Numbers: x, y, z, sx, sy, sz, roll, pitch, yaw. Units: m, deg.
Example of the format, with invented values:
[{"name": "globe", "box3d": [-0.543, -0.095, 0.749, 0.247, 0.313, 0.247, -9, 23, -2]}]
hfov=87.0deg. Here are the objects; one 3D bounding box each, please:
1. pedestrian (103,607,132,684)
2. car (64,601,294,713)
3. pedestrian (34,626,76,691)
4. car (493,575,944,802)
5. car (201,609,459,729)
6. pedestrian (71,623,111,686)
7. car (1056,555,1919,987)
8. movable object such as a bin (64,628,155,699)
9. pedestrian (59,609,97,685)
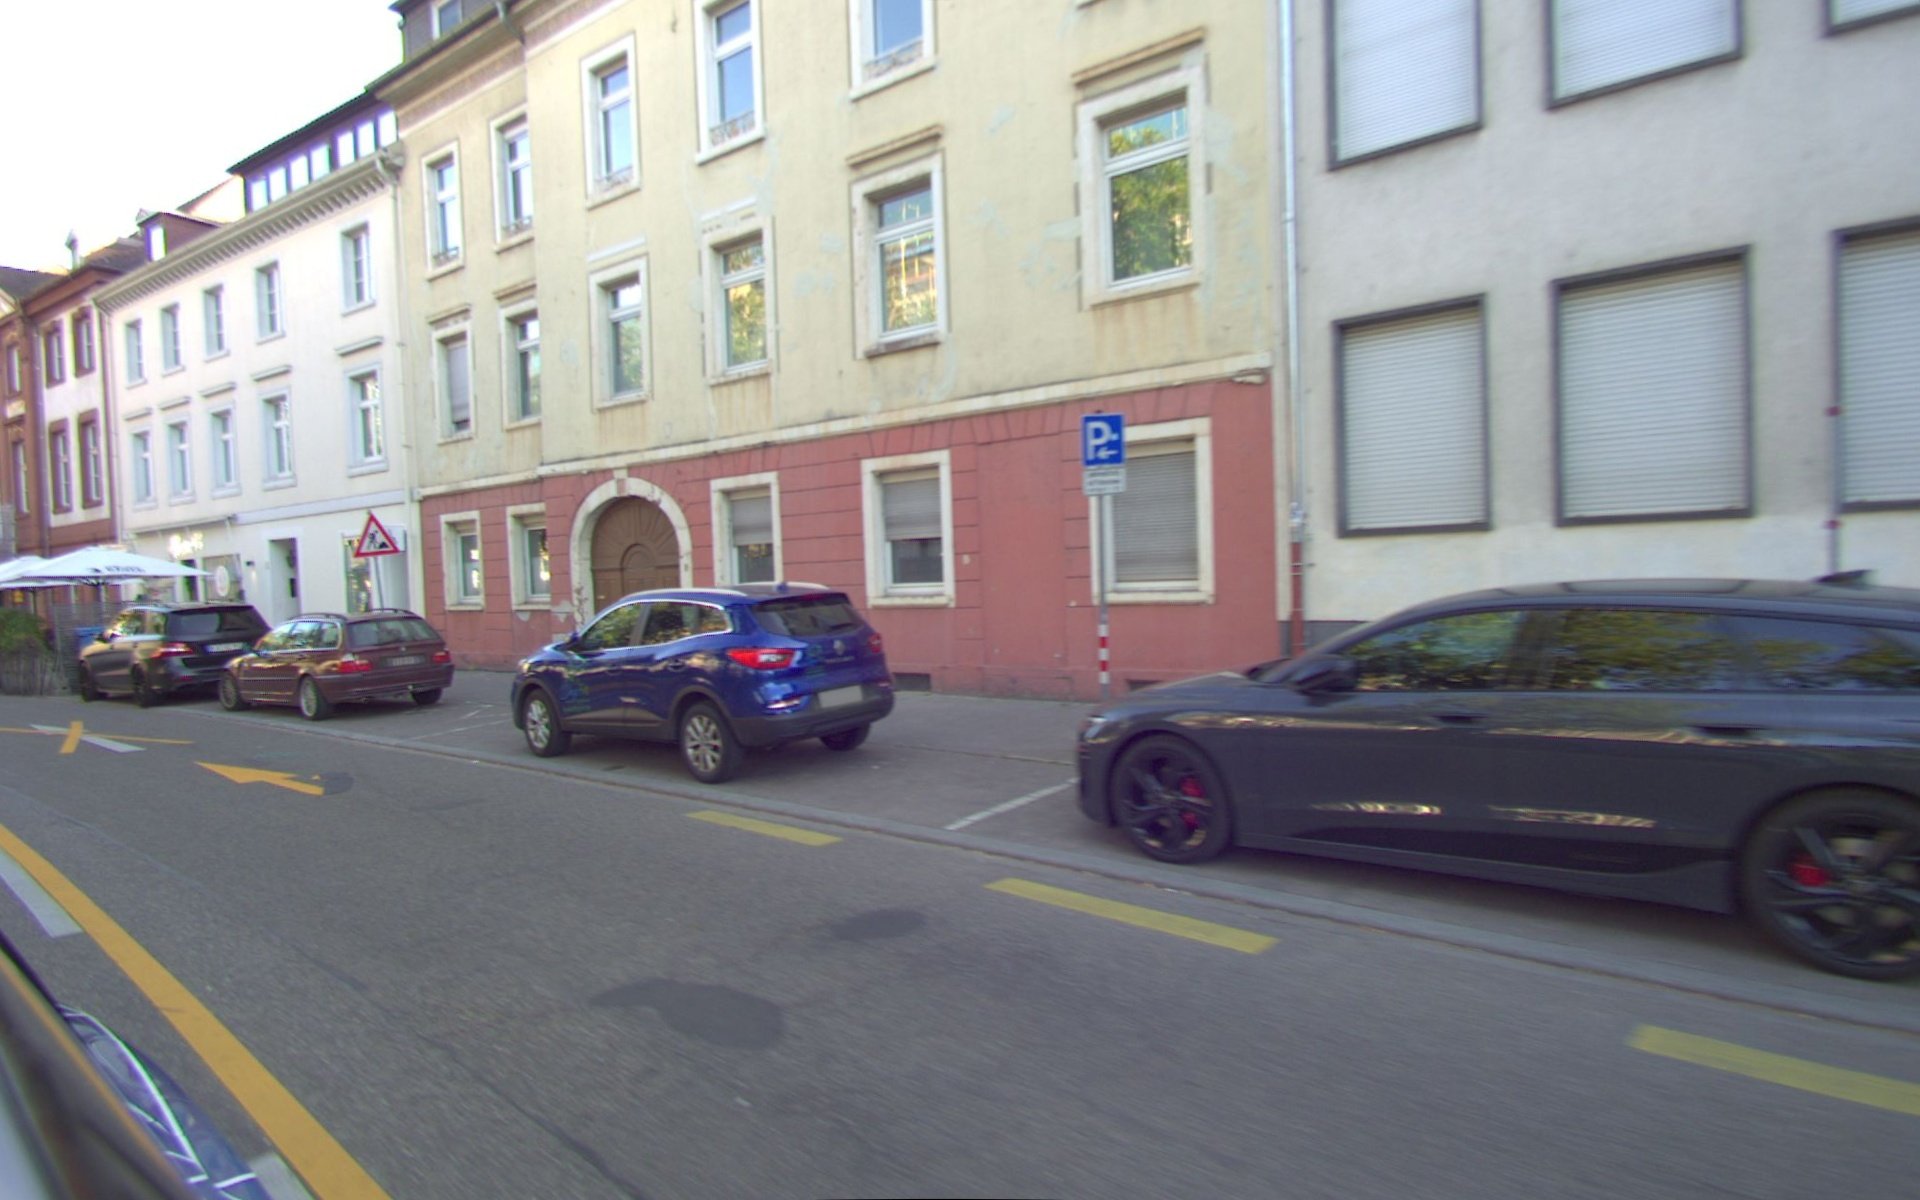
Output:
[{"name": "pedestrian", "box3d": [-20.125, 1.077, 24.177, 0.432, 1.788, 0.598, -3, 1, -44]}, {"name": "car", "box3d": [-13.948, 0.945, 17.984, 4.774, 1.692, 1.906, -2, 0, 35]}, {"name": "pedestrian", "box3d": [-20.200, 1.290, 22.594, 0.486, 1.401, 0.519, -2, 1, 30]}, {"name": "car", "box3d": [-2.441, 0.690, 9.670, 4.342, 1.680, 1.915, -2, 0, 39]}, {"name": "car", "box3d": [-9.382, 0.938, 14.947, 4.418, 1.491, 1.639, -2, 0, 35]}, {"name": "pedestrian", "box3d": [-19.901, 1.249, 23.182, 0.486, 1.401, 0.519, -2, 1, 30]}, {"name": "car", "box3d": [3.000, 0.618, 5.144, 4.754, 1.515, 1.806, -2, 2, 39]}, {"name": "movable object such as a bin", "box3d": [-17.024, 1.246, 20.269, 0.929, 1.305, 1.204, -1, 1, 38]}, {"name": "pedestrian", "box3d": [-21.226, 1.118, 24.360, 0.439, 1.788, 0.589, -2, 1, 41]}]
